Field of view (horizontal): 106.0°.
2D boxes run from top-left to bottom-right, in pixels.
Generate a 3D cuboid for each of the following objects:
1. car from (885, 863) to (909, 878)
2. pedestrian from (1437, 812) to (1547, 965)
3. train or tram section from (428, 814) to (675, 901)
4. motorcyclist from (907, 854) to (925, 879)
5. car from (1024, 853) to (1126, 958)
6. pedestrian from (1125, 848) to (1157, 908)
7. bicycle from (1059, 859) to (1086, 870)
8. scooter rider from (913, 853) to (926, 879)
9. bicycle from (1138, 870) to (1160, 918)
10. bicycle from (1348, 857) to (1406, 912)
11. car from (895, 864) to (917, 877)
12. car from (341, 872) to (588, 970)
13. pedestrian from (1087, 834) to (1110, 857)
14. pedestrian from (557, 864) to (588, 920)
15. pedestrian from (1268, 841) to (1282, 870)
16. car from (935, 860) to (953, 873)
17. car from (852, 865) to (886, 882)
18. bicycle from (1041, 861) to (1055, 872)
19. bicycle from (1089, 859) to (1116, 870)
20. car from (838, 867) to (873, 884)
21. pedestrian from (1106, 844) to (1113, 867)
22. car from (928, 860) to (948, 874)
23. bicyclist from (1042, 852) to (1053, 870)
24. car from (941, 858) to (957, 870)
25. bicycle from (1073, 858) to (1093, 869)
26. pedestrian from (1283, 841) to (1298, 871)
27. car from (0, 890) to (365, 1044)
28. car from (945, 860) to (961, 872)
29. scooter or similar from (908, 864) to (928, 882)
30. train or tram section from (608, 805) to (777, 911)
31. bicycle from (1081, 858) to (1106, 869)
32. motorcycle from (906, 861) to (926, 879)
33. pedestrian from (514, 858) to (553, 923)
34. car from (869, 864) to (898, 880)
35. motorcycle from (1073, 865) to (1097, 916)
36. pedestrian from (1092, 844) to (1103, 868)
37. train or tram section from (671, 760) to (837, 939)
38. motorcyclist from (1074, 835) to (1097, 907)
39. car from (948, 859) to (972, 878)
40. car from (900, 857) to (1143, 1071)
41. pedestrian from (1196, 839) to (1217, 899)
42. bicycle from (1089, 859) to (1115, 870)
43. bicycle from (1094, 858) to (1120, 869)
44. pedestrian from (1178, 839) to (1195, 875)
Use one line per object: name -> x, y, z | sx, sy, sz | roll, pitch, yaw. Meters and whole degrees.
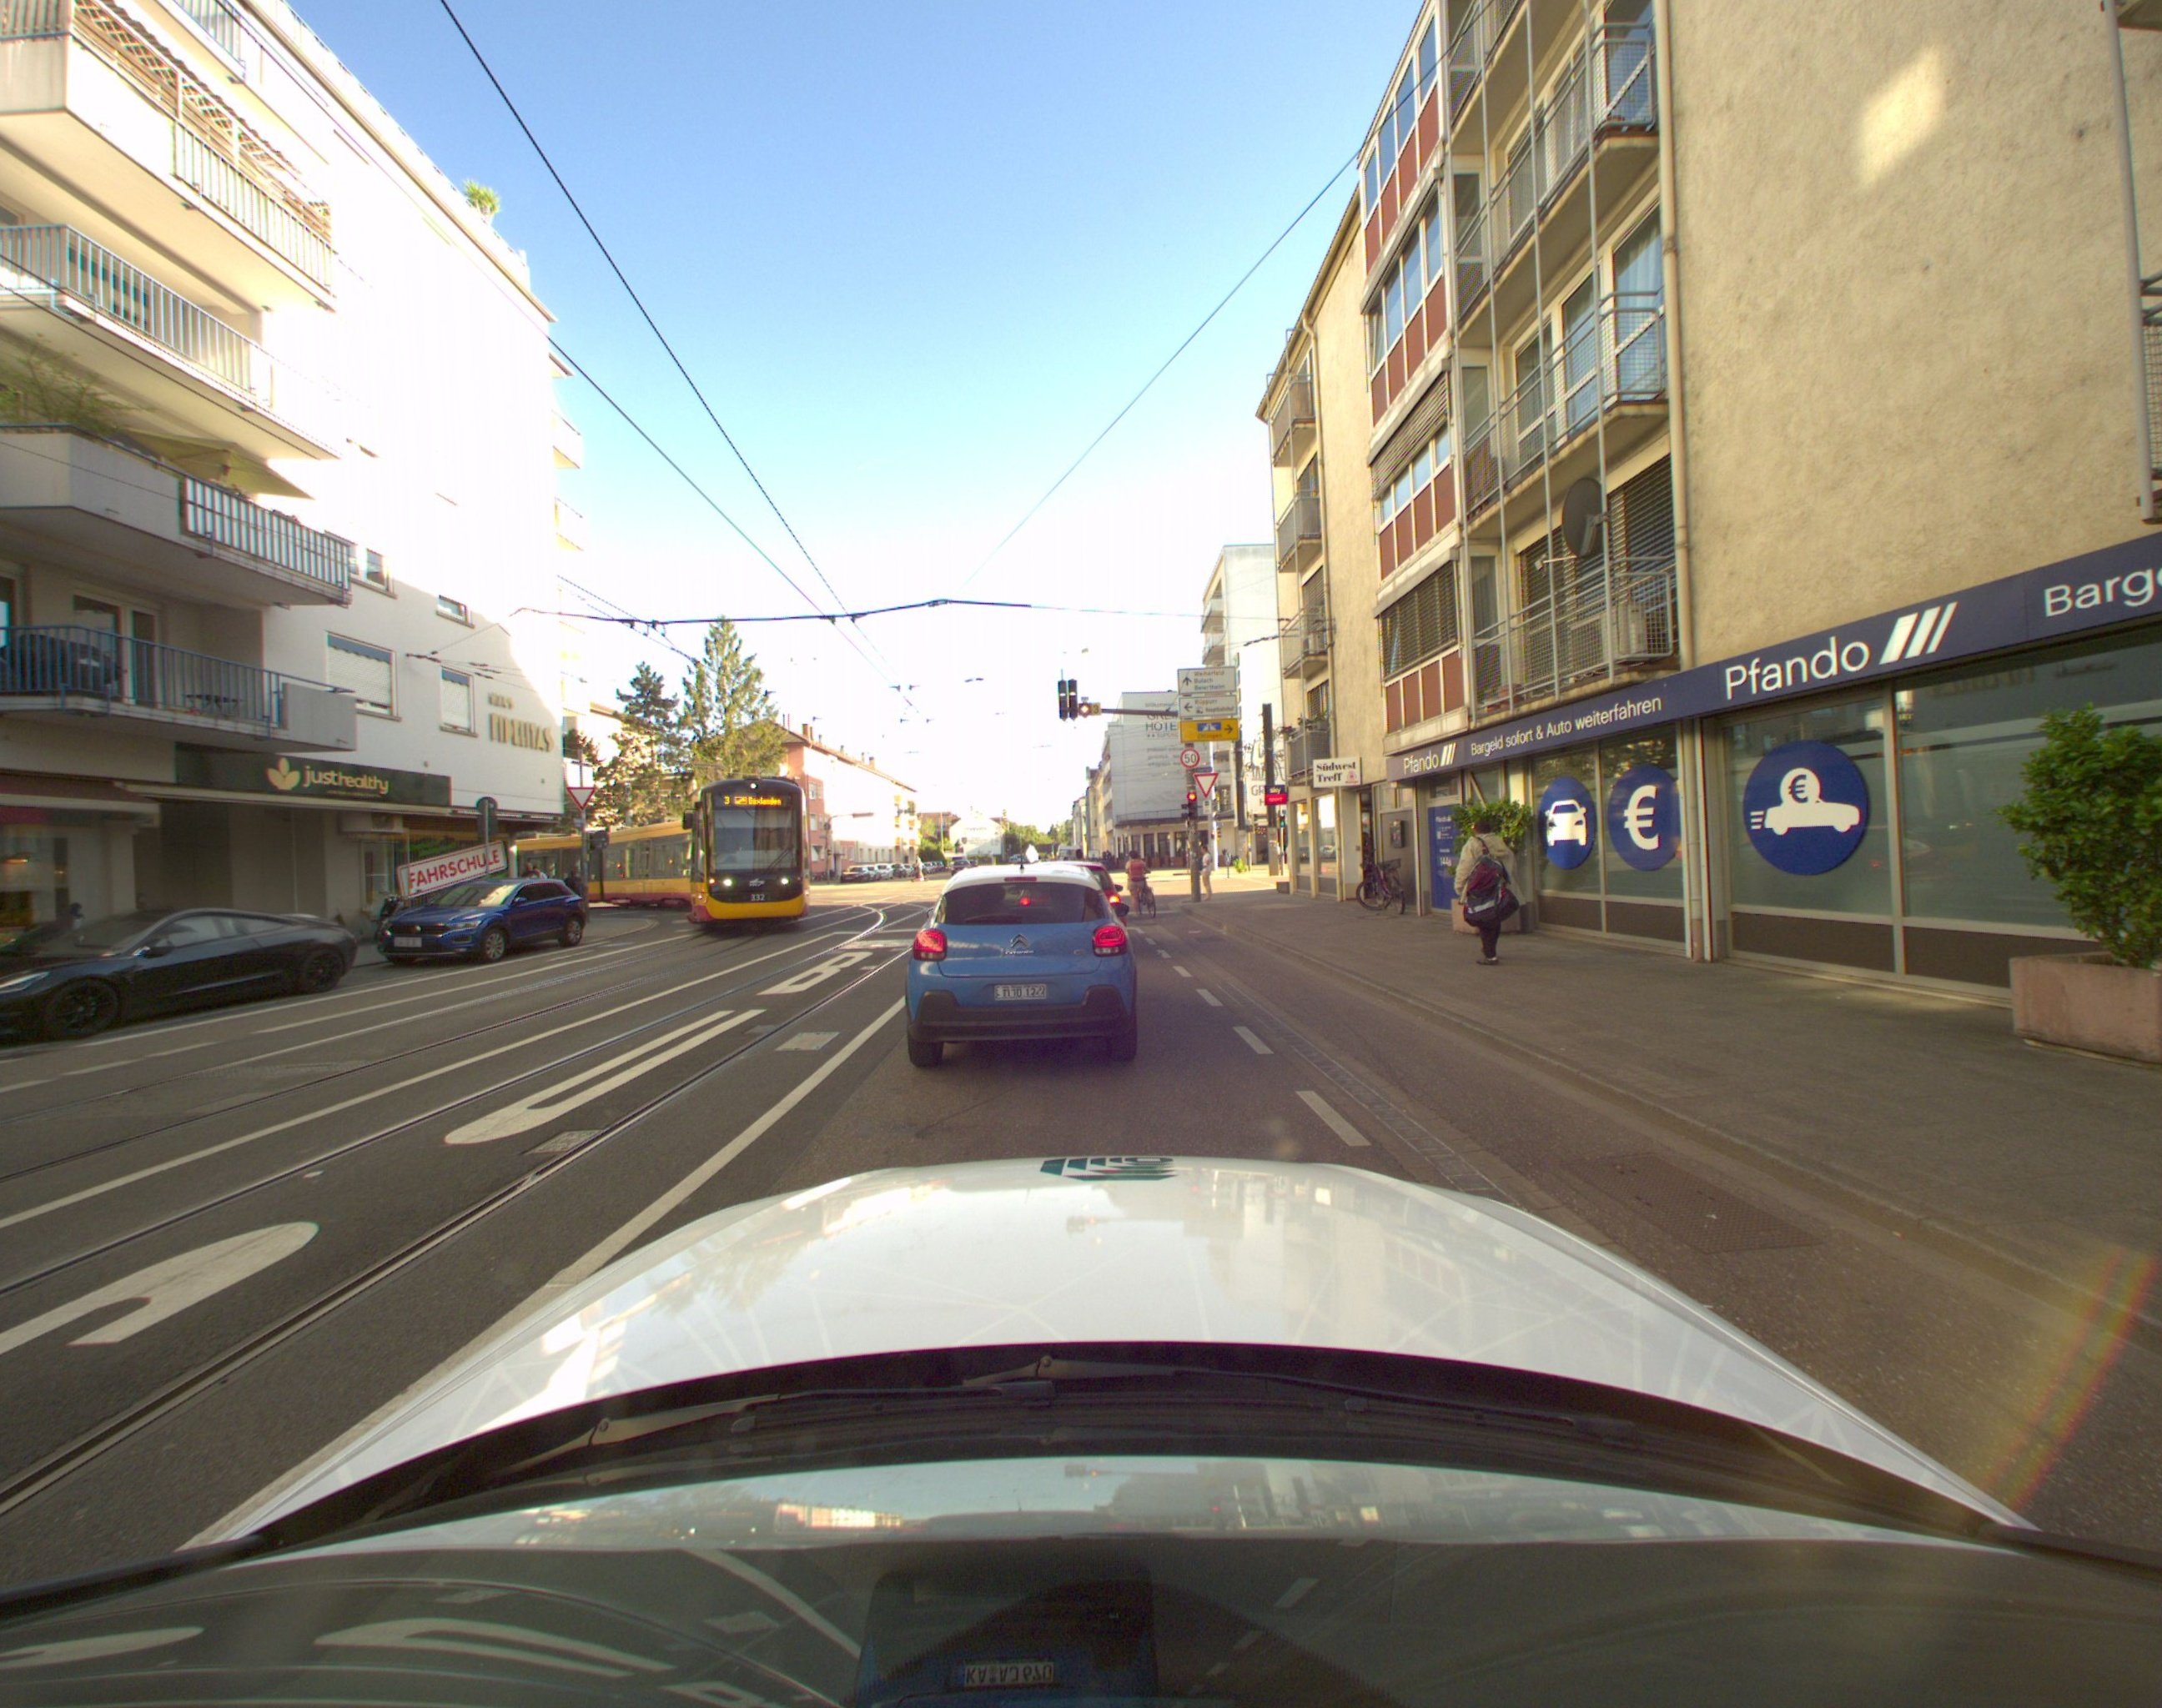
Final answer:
car -> -19.561, 1.770, 86.737 | 1.781, 1.498, 3.998 | 0, -1, -1
pedestrian -> 4.456, 0.366, 8.881 | 0.822, 1.593, 0.751 | 0, -1, 1
train or tram section -> -25.197, 0.213, 38.341 | 14.087, 3.632, 2.770 | -1, -1, 26
motorcyclist -> -13.715, 1.048, 67.782 | 1.182, 2.013, 1.275 | -2, 0, -1
car -> -0.037, 0.768, 13.302 | 1.419, 1.467, 2.925 | -2, -1, 2
pedestrian -> 1.488, 0.598, 20.347 | 0.774, 1.460, 0.682 | 0, -1, 1
bicycle -> -0.707, 0.882, 66.352 | 2.130, 0.901, 0.366 | 0, -1, -7
scooter rider -> -11.506, 0.874, 57.992 | 0.721, 1.832, 0.716 | -3, -1, -5
bicycle -> 1.709, 0.977, 20.609 | 0.426, 1.123, 1.999 | 0, -1, 2
bicycle -> 5.695, 0.571, 15.754 | 0.540, 0.998, 1.706 | 0, -1, 2
car -> -19.945, 1.854, 92.790 | 1.728, 1.498, 3.996 | 0, -1, -2
car -> -11.984, 1.207, 16.254 | 1.864, 1.531, 4.068 | -2, 0, -2
pedestrian -> 1.628, -0.722, 73.697 | 1.986, 2.014, 4.001 | 0, -1, 2
pedestrian -> -16.617, 1.241, 26.628 | 0.569, 1.805, 0.699 | 0, -1, 1
pedestrian -> 10.769, 0.106, 45.261 | 0.730, 1.601, 0.751 | -1, -1, 15
car -> -18.860, 1.687, 112.025 | 1.877, 1.687, 3.998 | 0, -1, -1
car -> -19.326, 1.788, 74.403 | 1.808, 1.498, 4.302 | 0, -1, 2
bicycle -> -2.718, 1.003, 67.058 | 0.351, 0.903, 1.841 | 0, -1, -30
bicycle -> 1.771, 0.871, 67.245 | 2.130, 0.901, 0.366 | 0, -1, -7
car -> -19.184, 1.816, 69.442 | 1.787, 1.421, 3.996 | 0, -1, 1
pedestrian -> 2.474, 0.150, 70.373 | 0.575, 2.014, 0.625 | 0, -1, -1
car -> -18.777, 1.680, 106.941 | 1.978, 1.687, 3.998 | 0, -1, -1
bicyclist -> -2.766, 0.590, 67.160 | 0.564, 1.477, 0.740 | 0, -1, -31
car -> -19.008, 1.424, 117.320 | 1.828, 1.687, 3.998 | 0, -1, -1
bicycle -> 0.160, 0.829, 69.622 | 1.765, 0.901, 0.369 | -1, -1, 36
pedestrian -> 11.612, 0.111, 45.212 | 0.746, 1.657, 0.887 | -1, -1, 18
car -> -12.036, 1.290, 10.448 | 1.816, 1.387, 4.425 | -2, 0, -2
car -> -19.175, 1.770, 121.945 | 1.841, 1.687, 3.872 | 0, -1, -1
scooter or similar -> -11.593, 1.334, 57.992 | 1.348, 1.269, 0.442 | -1, 0, -6
train or tram section -> -15.443, 0.173, 31.920 | 8.969, 3.631, 2.852 | -1, -1, 43
bicycle -> 1.048, 0.825, 68.488 | 2.130, 0.901, 0.366 | 0, -1, -7
motorcycle -> -13.713, 1.334, 67.876 | 0.921, 1.486, 3.724 | 0, -1, -1
pedestrian -> -17.162, 1.131, 25.553 | 0.767, 2.014, 0.694 | 0, -1, -4
car -> -19.434, 1.748, 80.115 | 1.781, 1.511, 4.150 | 0, -1, 1
motorcycle -> 0.113, 0.838, 19.564 | 0.524, 1.139, 2.290 | 0, -1, 2
pedestrian -> 1.407, 0.203, 69.341 | 0.635, 2.014, 0.717 | 0, -1, -34
train or tram section -> -9.402, -0.082, 22.705 | 3.077, 3.593, 12.526 | -3, 0, -25
motorcyclist -> 0.120, 0.405, 19.756 | 0.524, 1.716, 0.717 | 0, -1, 1
car -> -11.387, 1.346, 76.844 | 1.770, 1.666, 3.854 | 0, -1, -2
car -> -0.352, 0.760, 7.299 | 1.648, 1.444, 3.524 | 0, -1, 2
pedestrian -> 3.755, 0.443, 24.384 | 0.515, 1.783, 0.595 | 0, -1, 0
bicycle -> 1.745, 0.902, 67.676 | 2.130, 0.901, 0.366 | 0, -1, -7
bicycle -> 2.121, 0.773, 66.071 | 2.130, 0.901, 0.366 | 0, -1, -7
pedestrian -> 6.078, 0.176, 46.913 | 0.922, 2.014, 0.760 | 0, -1, 1
